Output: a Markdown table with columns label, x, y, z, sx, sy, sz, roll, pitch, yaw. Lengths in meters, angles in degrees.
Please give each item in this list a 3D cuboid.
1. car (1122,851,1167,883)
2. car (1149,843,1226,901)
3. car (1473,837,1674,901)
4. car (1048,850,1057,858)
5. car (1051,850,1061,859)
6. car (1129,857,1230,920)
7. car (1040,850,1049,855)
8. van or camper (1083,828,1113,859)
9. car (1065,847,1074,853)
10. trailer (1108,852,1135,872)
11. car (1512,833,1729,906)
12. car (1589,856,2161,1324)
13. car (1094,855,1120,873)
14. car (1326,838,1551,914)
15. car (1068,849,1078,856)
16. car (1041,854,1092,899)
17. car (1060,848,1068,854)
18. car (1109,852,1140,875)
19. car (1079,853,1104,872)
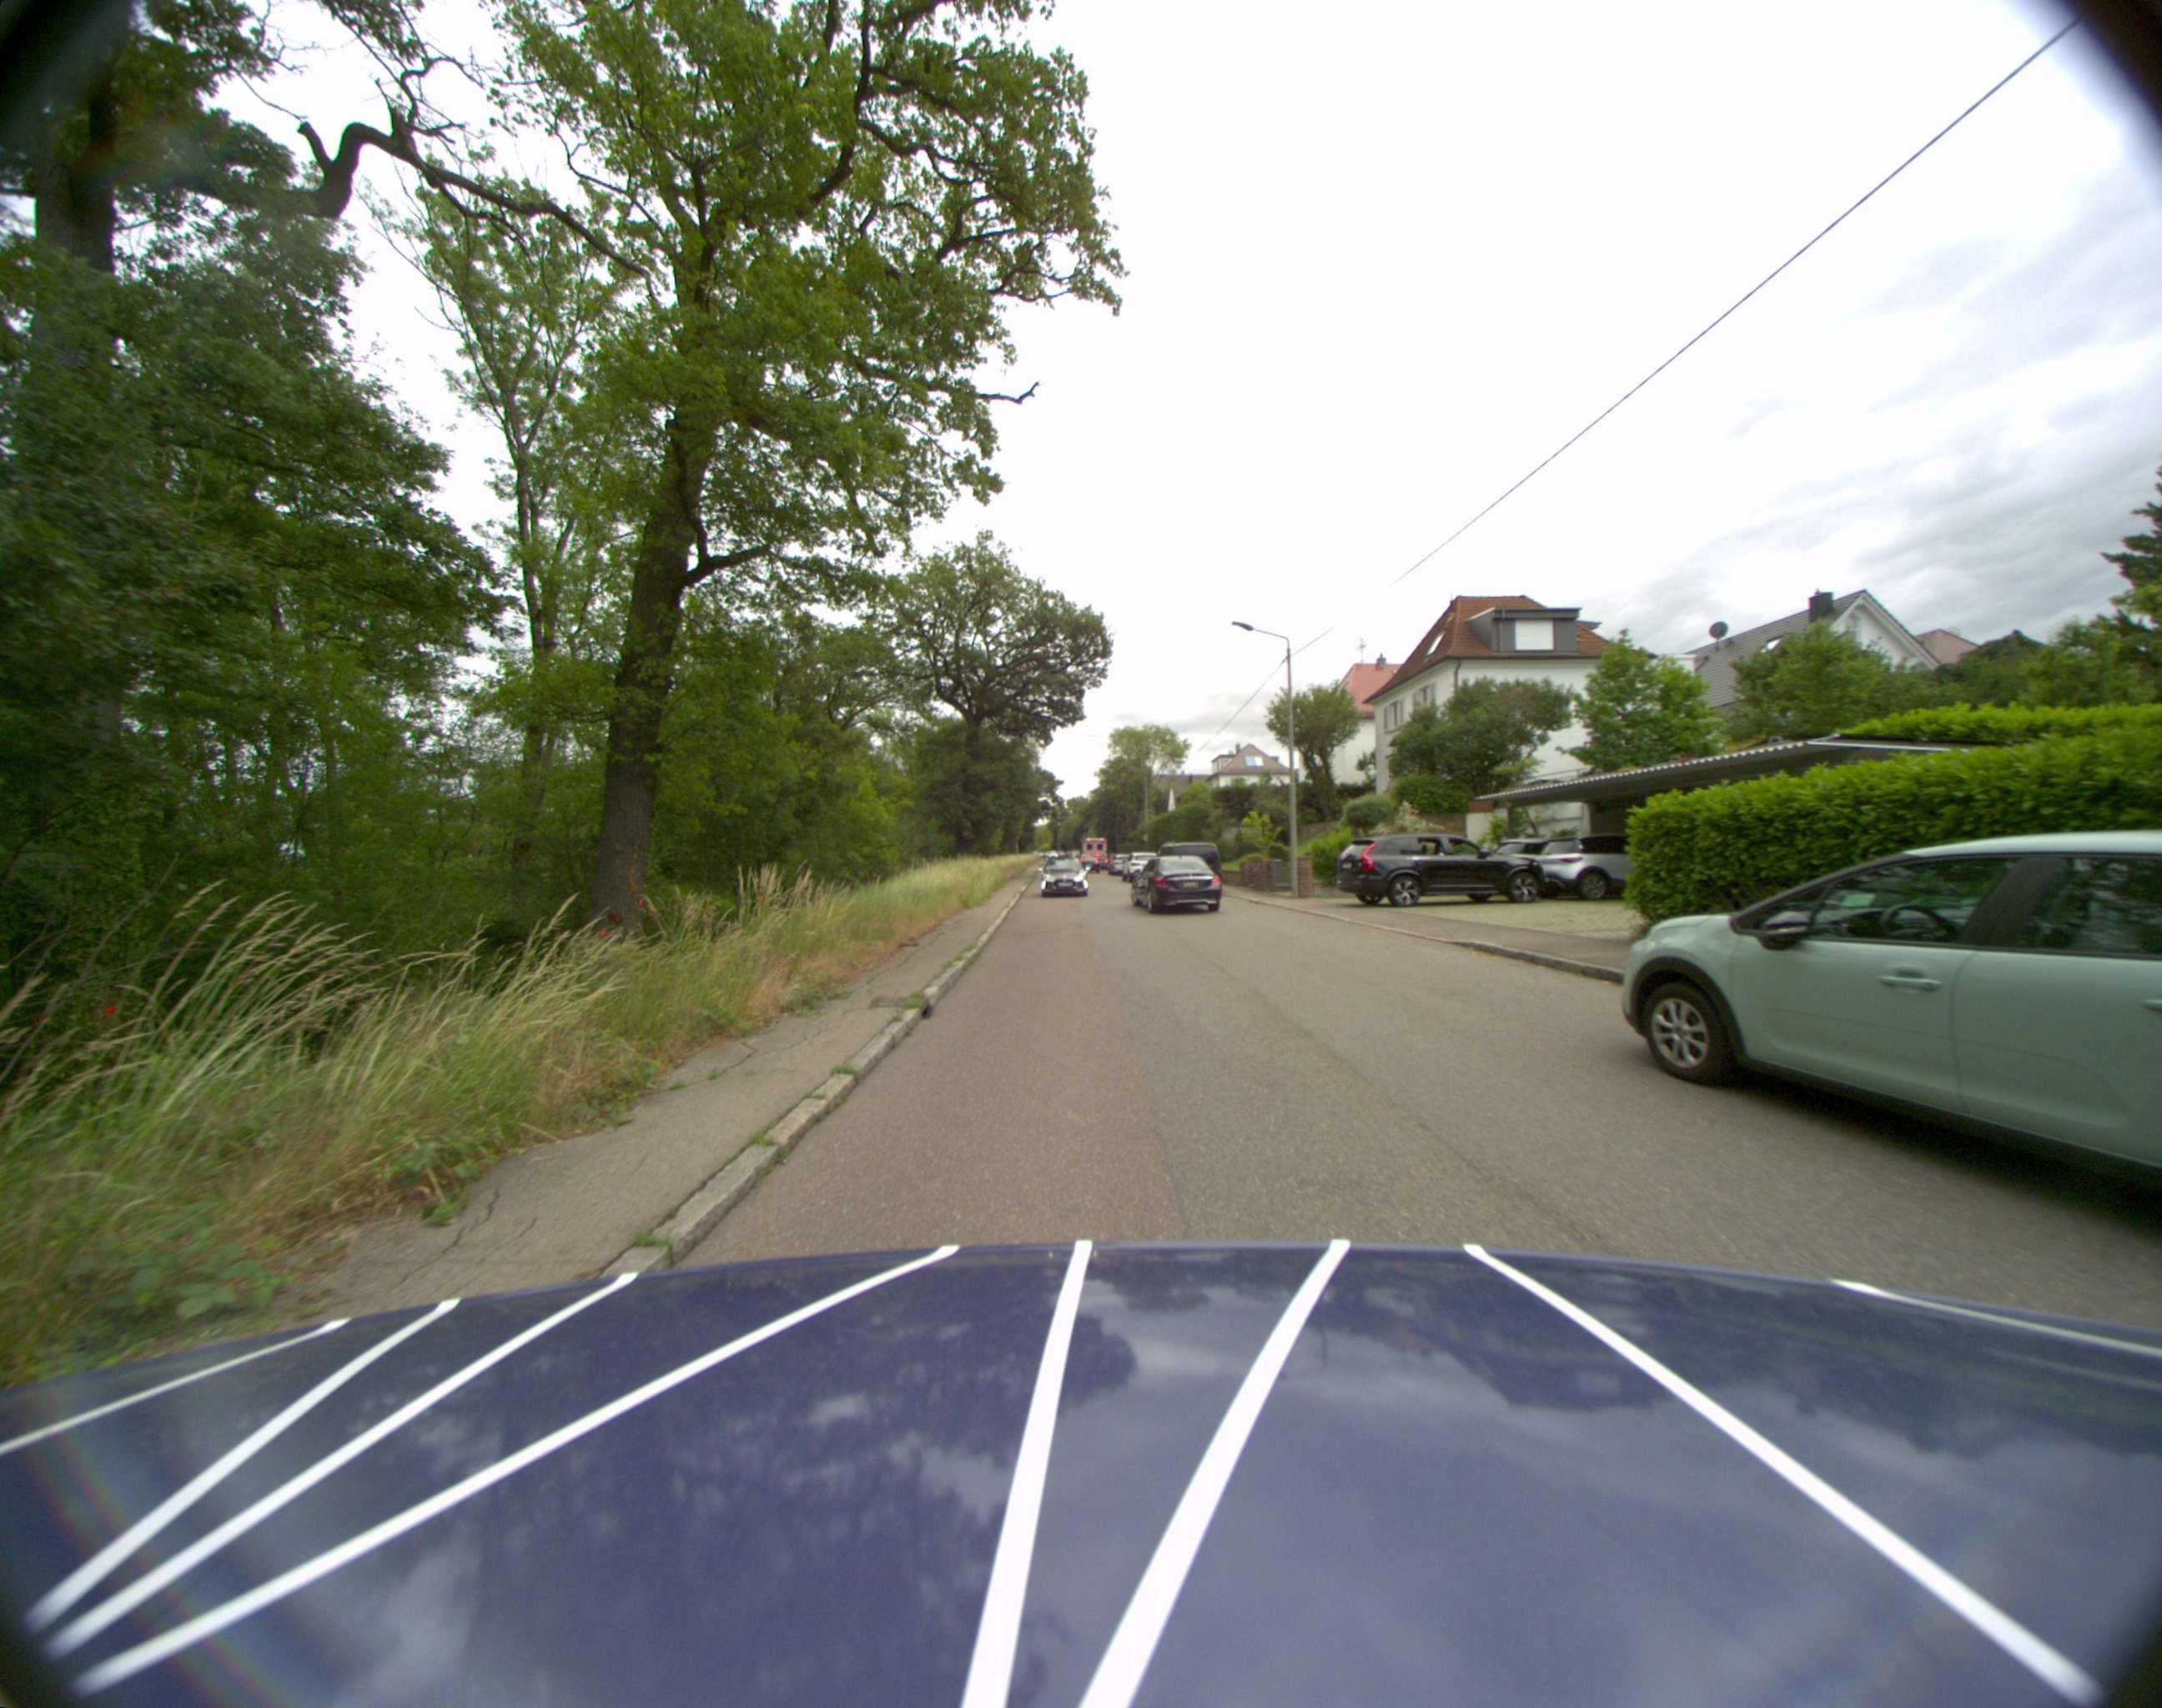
| label | x | y | z | sx | sy | sz | roll | pitch | yaw |
| --- | --- | --- | --- | --- | --- | --- | --- | --- | --- |
| car | 3.400 | 0.653 | 41.525 | 1.843 | 1.639 | 4.184 | 1 | 1 | -3 |
| car | 3.826 | 0.596 | 28.193 | 1.868 | 1.915 | 5.036 | -2 | 1 | -3 |
| car | 14.201 | 0.447 | 22.069 | 4.630 | 1.687 | 2.000 | -1 | -2 | -5 |
| car | -6.847 | 0.002 | 182.538 | 1.999 | 1.678 | 4.709 | -2 | 0 | -2 |
| car | -5.218 | 0.067 | 159.833 | 1.999 | 1.678 | 4.709 | -2 | 0 | -3 |
| car | 2.502 | 0.832 | 20.448 | 1.868 | 1.406 | 4.590 | -2 | 1 | -3 |
| car | -11.135 | -0.460 | 233.759 | 2.000 | 1.678 | 4.705 | -2 | 0 | -12 |
| van or camper | 1.567 | -1.044 | 74.675 | 2.463 | 2.878 | 7.165 | 0 | 1 | -3 |
| car | -2.669 | -0.881 | 173.482 | 1.741 | 1.431 | 3.785 | -2 | 0 | -5 |
| trailer | 3.147 | 0.584 | 59.739 | 1.768 | 1.487 | 4.472 | 0 | 0 | -1 |
| car | 13.523 | 0.396 | 19.214 | 4.134 | 1.687 | 2.000 | -1 | -2 | -5 |
| car | 4.489 | 0.802 | 3.282 | 1.788 | 1.491 | 4.013 | -2 | 1 | -2 |
| car | 2.230 | 0.866 | 66.893 | 1.769 | 1.438 | 4.471 | 0 | 0 | -5 |
| car | 8.701 | 0.493 | 18.718 | 4.630 | 1.687 | 1.999 | -1 | 1 | -5 |
| car | -1.564 | -0.289 | 155.431 | 1.788 | 1.491 | 4.013 | -2 | 1 | -3 |
| car | -0.623 | 0.803 | 29.156 | 1.788 | 1.491 | 4.013 | -2 | 1 | -3 |
| car | -4.393 | -0.796 | 195.815 | 1.766 | 1.441 | 4.040 | -2 | 0 | -8 |
| car | 3.065 | 0.649 | 54.147 | 1.768 | 1.490 | 4.472 | 1 | 0 | -2 |
| car | 0.774 | 0.647 | 59.793 | 1.768 | 1.438 | 4.472 | 0 | 0 | -2 |
